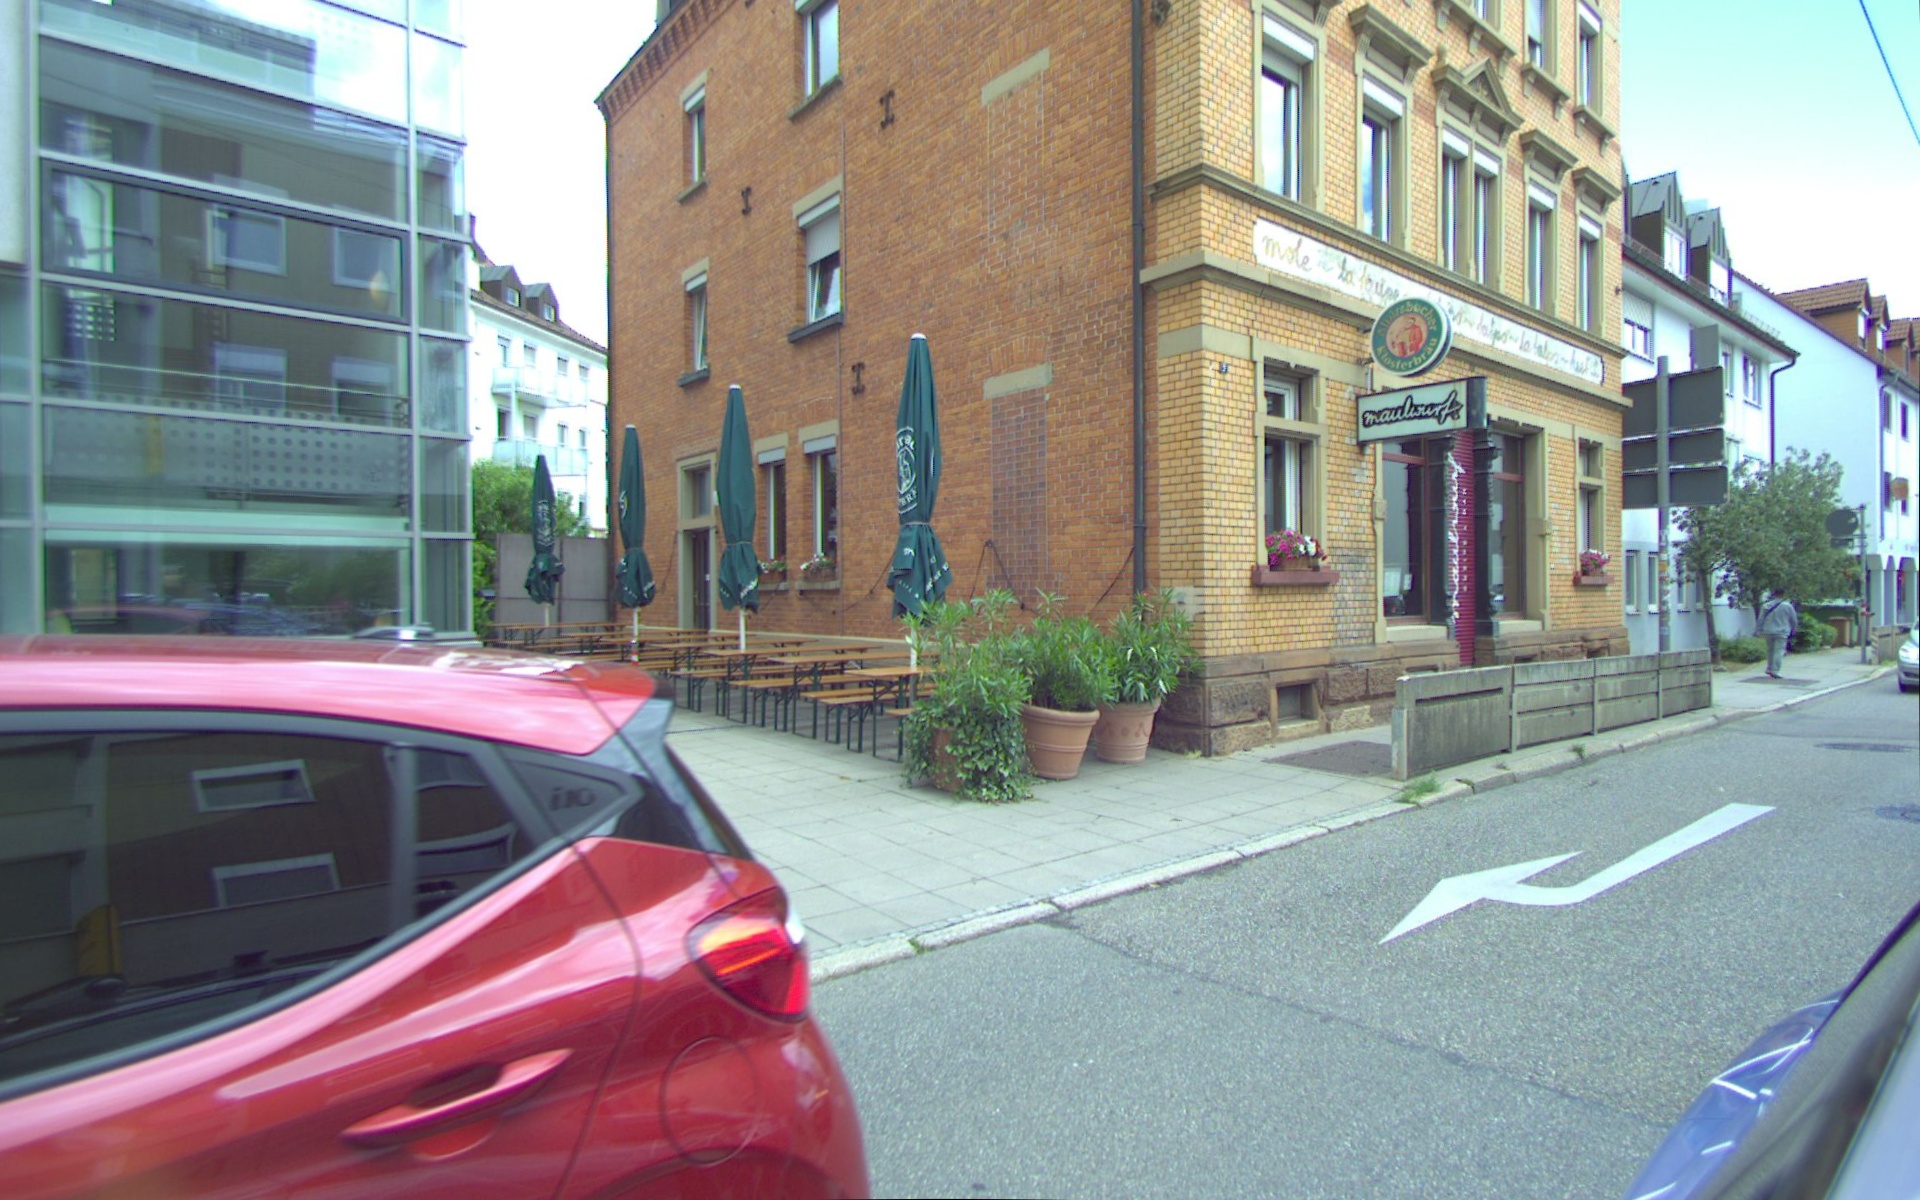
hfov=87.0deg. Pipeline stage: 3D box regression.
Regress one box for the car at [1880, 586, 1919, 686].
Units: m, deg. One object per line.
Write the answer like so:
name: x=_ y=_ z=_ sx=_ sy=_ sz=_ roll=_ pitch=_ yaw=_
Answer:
car: x=17.209 y=0.518 z=16.773 sx=4.485 sy=1.566 sz=1.999 roll=-1 pitch=-2 yaw=-36

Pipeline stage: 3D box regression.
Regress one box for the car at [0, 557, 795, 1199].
car: x=-2.280 y=0.734 z=0.882 sx=3.931 sy=1.471 sz=1.700 roll=-1 pitch=-2 yaw=-41

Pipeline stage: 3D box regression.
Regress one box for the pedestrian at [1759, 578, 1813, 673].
pedestrian: x=15.506 y=0.461 z=18.996 sx=0.638 sy=1.752 sz=0.689 roll=0 pitch=0 yaw=-41
